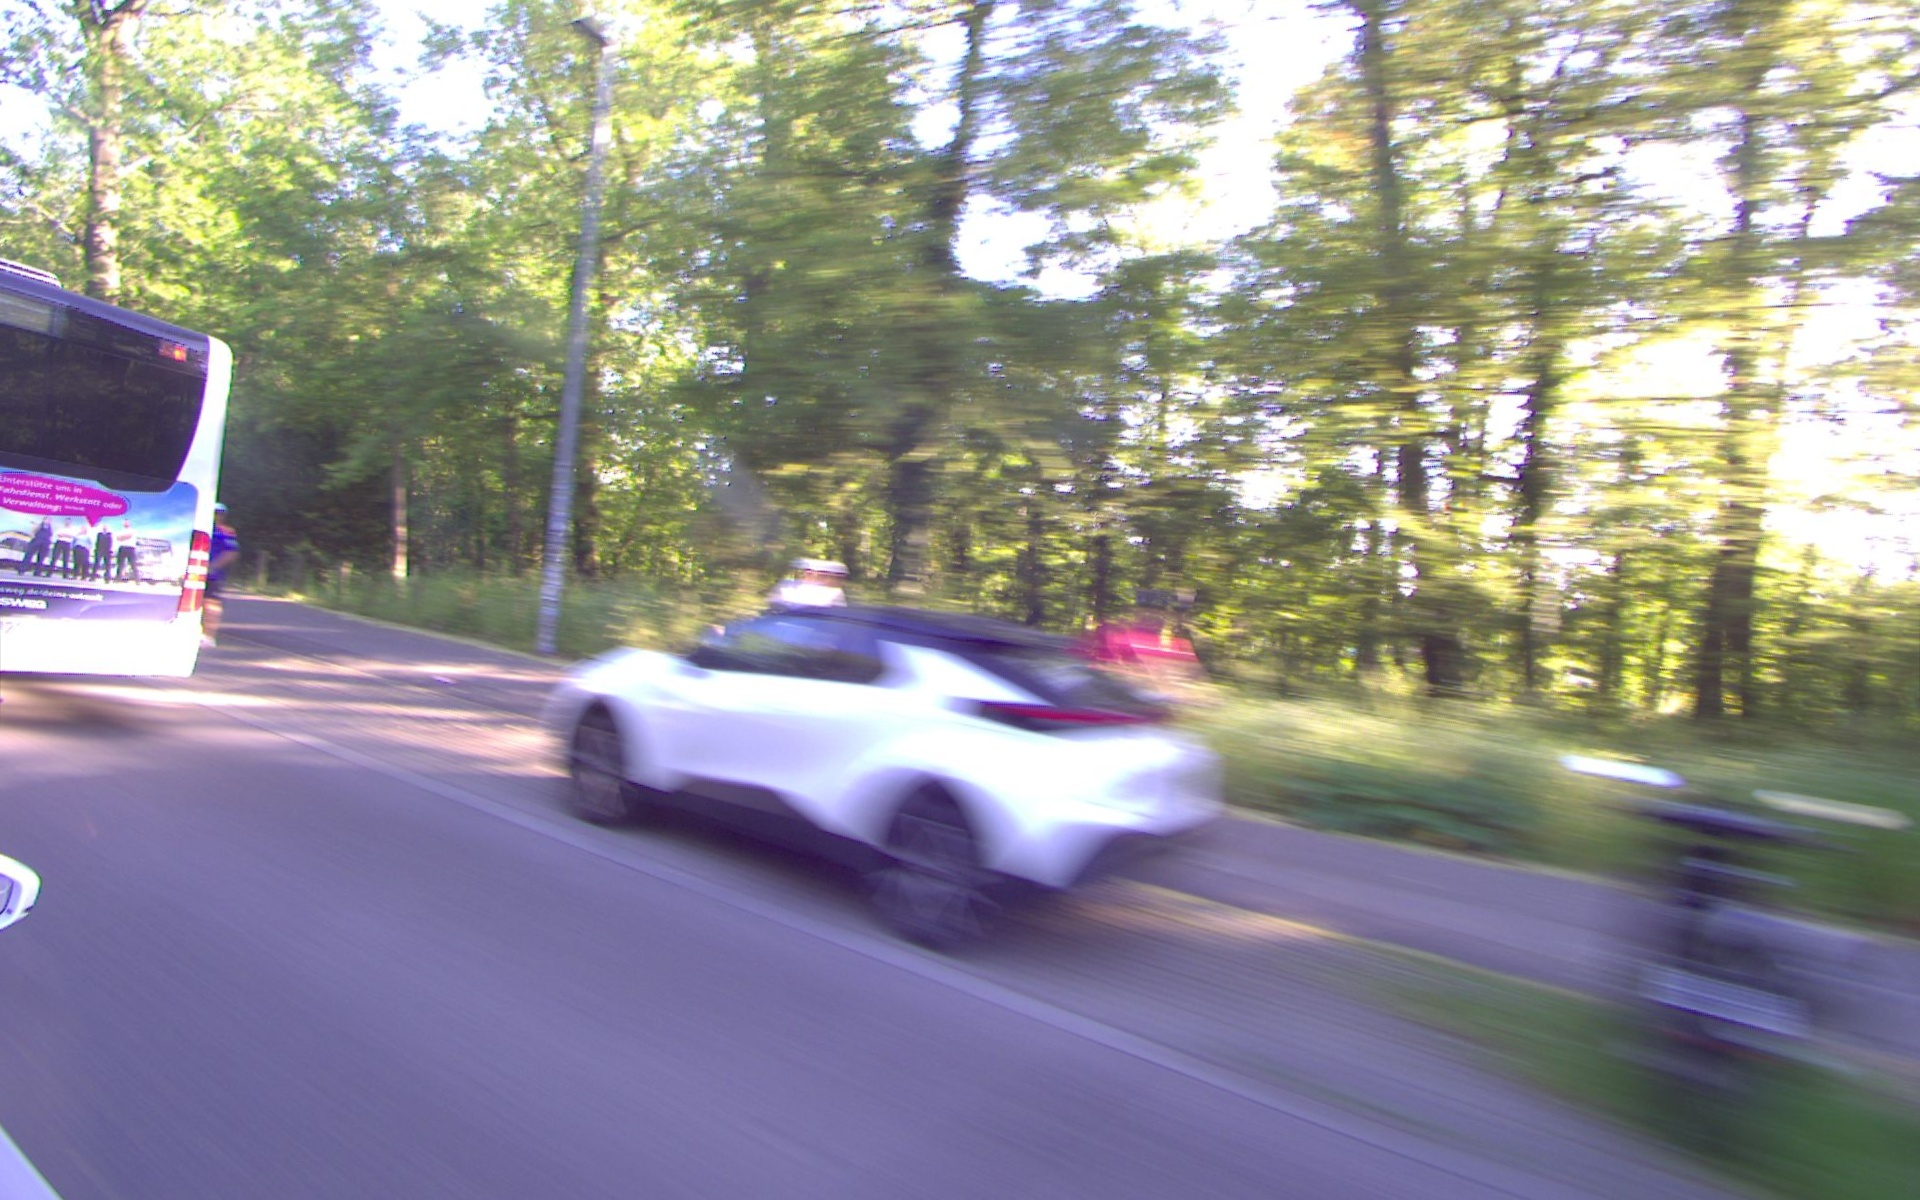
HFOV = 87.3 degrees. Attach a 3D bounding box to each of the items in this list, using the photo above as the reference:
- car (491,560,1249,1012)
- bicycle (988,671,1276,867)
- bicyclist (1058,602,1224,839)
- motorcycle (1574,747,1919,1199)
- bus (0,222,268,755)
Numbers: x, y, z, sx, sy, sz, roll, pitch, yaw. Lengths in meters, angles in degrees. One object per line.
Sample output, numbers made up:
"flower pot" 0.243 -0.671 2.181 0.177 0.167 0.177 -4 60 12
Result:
"car" -0.745 0.762 6.176 4.385 1.581 1.805 7 3 34
"bicycle" 1.267 1.199 7.602 1.932 1.070 0.703 7 1 33
"bicyclist" 1.366 0.871 7.552 0.861 1.580 0.702 7 0 32
"motorcycle" 2.946 1.327 3.886 0.758 1.269 1.736 7 1 28
"bus" -10.948 -1.231 9.529 12.080 3.261 2.707 7 0 33
